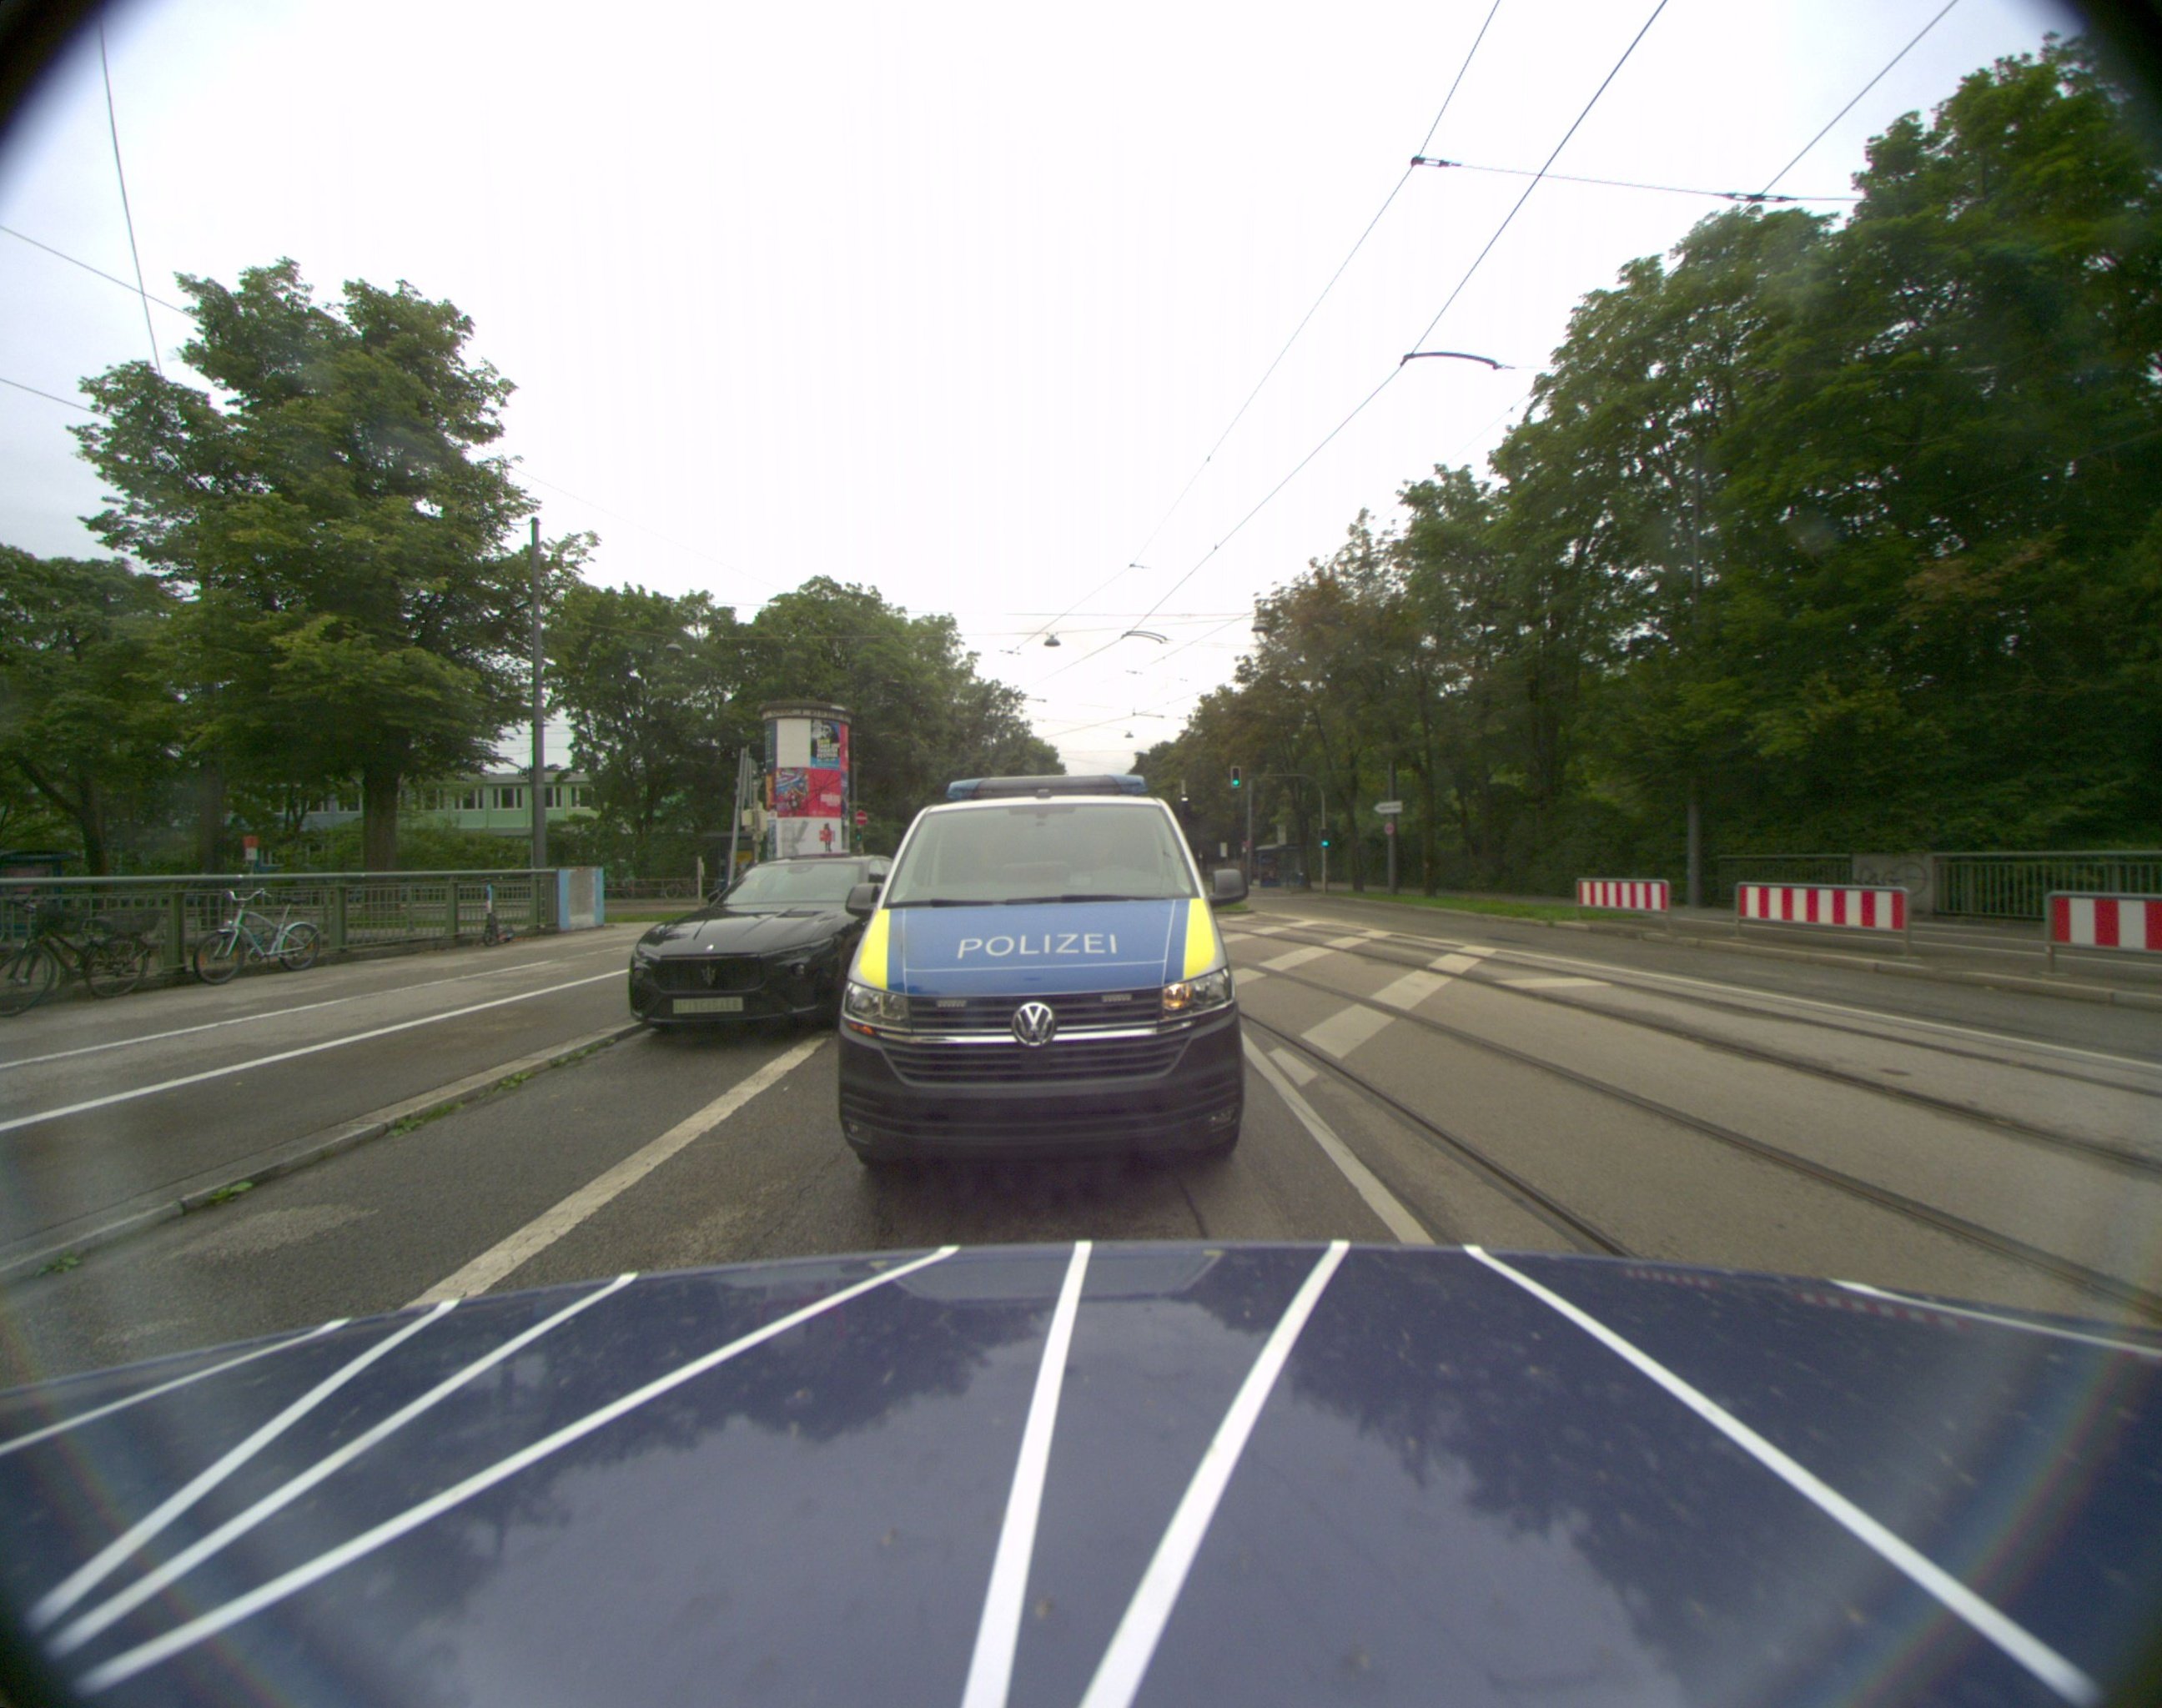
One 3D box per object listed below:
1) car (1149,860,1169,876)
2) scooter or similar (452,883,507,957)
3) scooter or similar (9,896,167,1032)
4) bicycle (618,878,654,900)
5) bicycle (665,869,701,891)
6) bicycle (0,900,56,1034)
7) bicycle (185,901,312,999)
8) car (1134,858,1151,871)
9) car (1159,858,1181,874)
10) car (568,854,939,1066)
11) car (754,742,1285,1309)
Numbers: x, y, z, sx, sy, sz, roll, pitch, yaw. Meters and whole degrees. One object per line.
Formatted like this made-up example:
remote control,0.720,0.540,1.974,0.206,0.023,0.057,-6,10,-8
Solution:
car,9.325,1.620,91.138,1.888,1.716,3.999,-3,0,-1
scooter or similar,-10.620,1.141,13.438,0.225,1.205,1.020,-3,1,-8
scooter or similar,-10.595,1.118,8.169,0.245,1.255,1.493,-3,1,-22
bicycle,-20.893,1.644,35.673,1.483,0.946,0.373,-1,1,3
bicycle,-18.614,1.212,35.580,1.483,0.946,0.373,-1,1,3
bicycle,-10.599,1.115,7.177,0.283,1.274,1.408,-3,1,-19
bicycle,-10.748,1.202,9.871,0.265,1.076,1.540,-3,1,-14
car,8.589,1.458,105.800,1.888,1.716,3.999,-3,0,-1
car,10.012,1.327,85.431,1.888,1.532,3.999,-3,0,-1
car,-3.037,0.856,8.358,1.905,1.600,4.665,-3,0,1
car,-0.261,0.609,5.621,1.903,2.041,5.707,-1,0,-1
